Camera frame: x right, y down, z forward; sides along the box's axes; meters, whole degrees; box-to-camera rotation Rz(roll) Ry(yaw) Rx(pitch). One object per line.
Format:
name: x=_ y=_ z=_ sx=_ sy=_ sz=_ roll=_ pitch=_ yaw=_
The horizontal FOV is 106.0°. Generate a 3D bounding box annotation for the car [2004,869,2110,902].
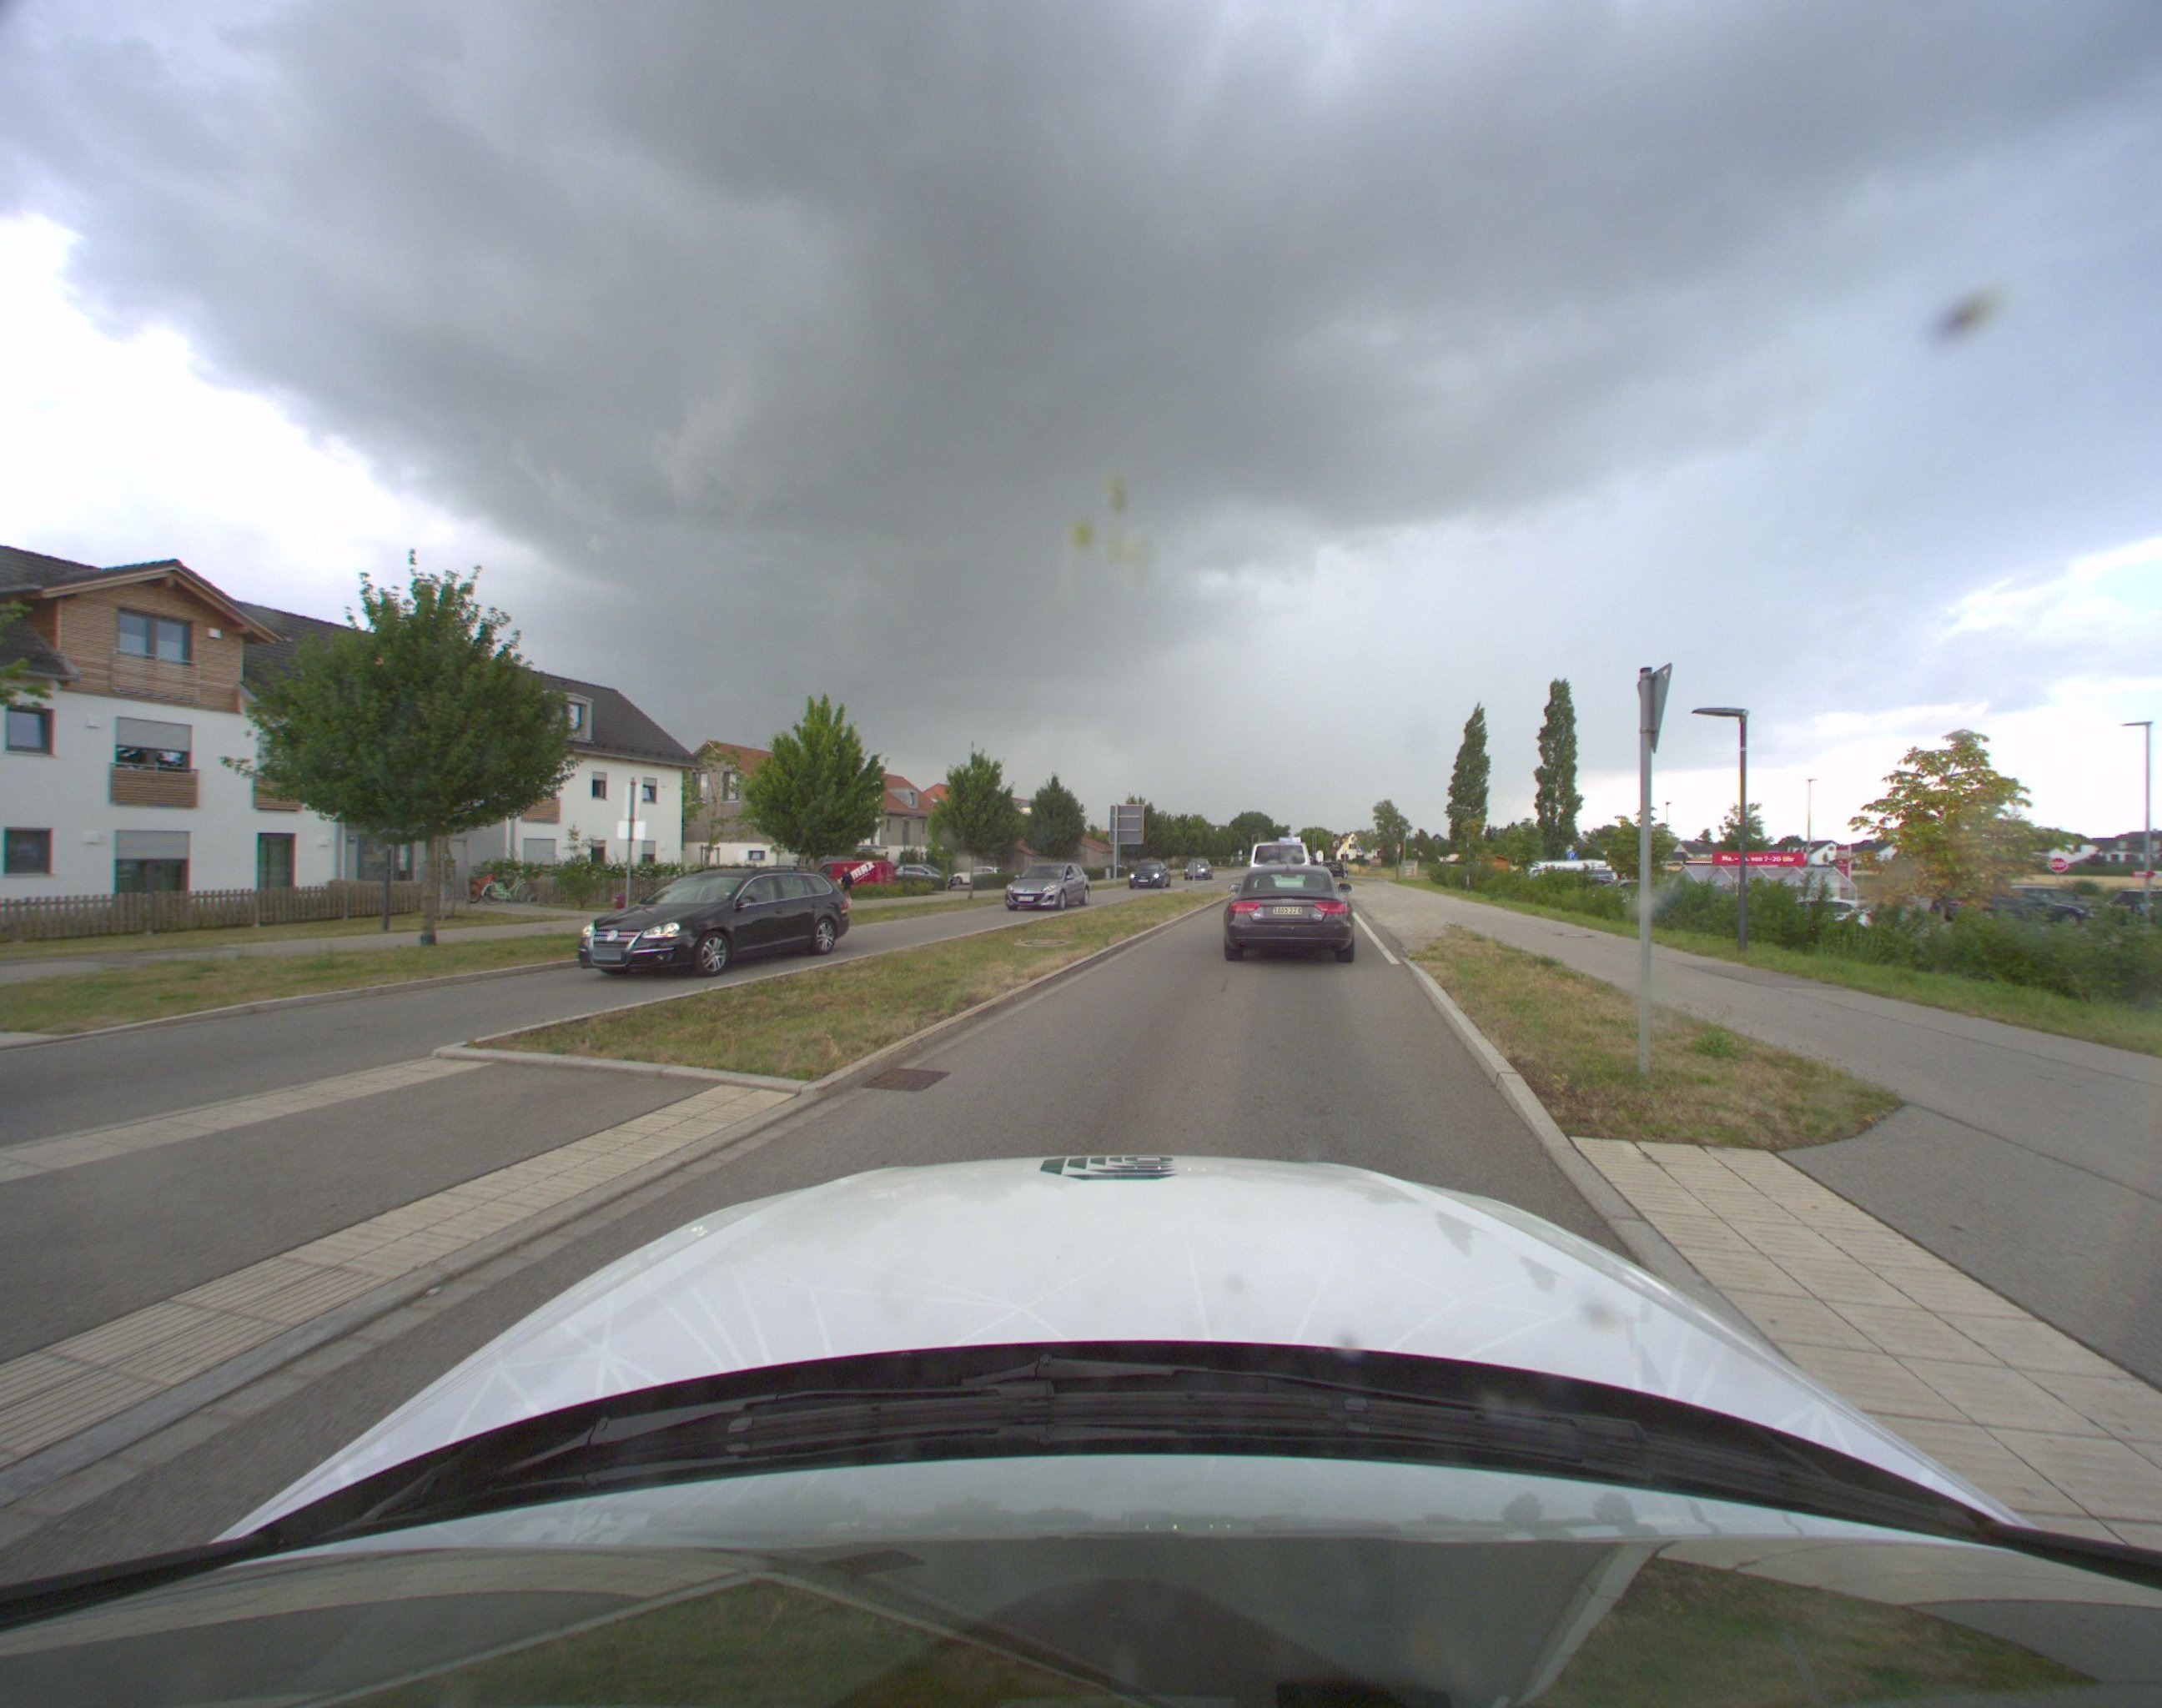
car: x=64.185 y=2.023 z=53.619 sx=3.955 sy=1.837 sz=2.009 roll=3 pitch=0 yaw=19

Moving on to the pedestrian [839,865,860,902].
pedestrian: x=-9.768 y=1.235 z=34.359 sx=0.577 sy=1.559 sz=0.662 roll=1 pitch=0 yaw=14

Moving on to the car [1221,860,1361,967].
car: x=3.255 y=0.820 z=12.813 sx=1.771 sy=1.391 sz=4.147 roll=-1 pitch=-1 yaw=13

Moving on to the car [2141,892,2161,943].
car: x=37.352 y=2.110 z=25.753 sx=4.371 sy=1.664 sz=2.008 roll=1 pitch=0 yaw=15

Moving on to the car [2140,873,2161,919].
car: x=51.001 y=1.907 z=36.147 sx=5.084 sy=2.013 sz=2.003 roll=0 pitch=1 yaw=4

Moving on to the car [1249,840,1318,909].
car: x=6.227 y=0.621 z=25.127 sx=1.854 sy=1.934 sz=4.014 roll=-2 pitch=-1 yaw=13

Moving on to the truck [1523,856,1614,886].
truck: x=32.219 y=1.101 z=53.927 sx=4.766 sy=1.872 sz=2.006 roll=1 pitch=-1 yaw=11

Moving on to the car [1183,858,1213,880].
car: x=9.015 y=1.120 z=62.454 sx=1.854 sy=1.574 sz=4.015 roll=1 pitch=0 yaw=14

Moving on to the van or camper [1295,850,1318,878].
van or camper: x=28.097 y=1.252 z=101.771 sx=2.606 sy=3.324 sz=6.847 roll=1 pitch=-1 yaw=15

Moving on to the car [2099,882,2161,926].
car: x=44.837 y=2.072 z=33.191 sx=3.958 sy=1.706 sz=1.722 roll=1 pitch=-1 yaw=15

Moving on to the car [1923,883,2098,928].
car: x=39.086 y=2.130 z=34.392 sx=4.523 sy=1.664 sz=2.008 roll=1 pitch=0 yaw=15

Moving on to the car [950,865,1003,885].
car: x=-8.071 y=1.614 z=62.883 sx=3.704 sy=1.482 sz=1.692 roll=1 pitch=0 yaw=12

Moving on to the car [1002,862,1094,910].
car: x=-0.962 y=0.971 z=26.139 sx=1.717 sy=1.410 sz=4.223 roll=-1 pitch=-1 yaw=16

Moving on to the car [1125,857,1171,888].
car: x=3.699 y=0.972 z=44.370 sx=1.854 sy=1.574 sz=4.015 roll=-1 pitch=-1 yaw=14

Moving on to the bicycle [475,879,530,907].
bicycle: x=-19.283 y=1.285 z=27.183 sx=0.364 sy=0.843 sz=1.554 roll=3 pitch=0 yaw=17

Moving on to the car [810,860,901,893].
car: x=-12.505 y=1.216 z=45.238 sx=4.494 sy=1.680 sz=2.009 roll=1 pitch=0 yaw=18

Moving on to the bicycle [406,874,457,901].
bicycle: x=-22.086 y=1.125 z=27.716 sx=0.364 sy=0.843 sz=1.343 roll=3 pitch=0 yaw=17

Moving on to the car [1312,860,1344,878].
car: x=19.776 y=1.182 z=65.134 sx=1.425 sy=1.372 sz=3.534 roll=1 pitch=-1 yaw=34

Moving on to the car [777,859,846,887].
car: x=-17.905 y=1.244 z=54.389 sx=1.977 sy=1.772 sz=4.487 roll=0 pitch=-1 yaw=20

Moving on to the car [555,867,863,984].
car: x=-5.265 y=0.922 z=12.319 sx=1.740 sy=1.416 sz=4.473 roll=-1 pitch=-1 yaw=15

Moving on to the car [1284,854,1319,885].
car: x=12.119 y=0.811 z=44.560 sx=1.763 sy=1.618 sz=4.017 roll=1 pitch=0 yaw=16

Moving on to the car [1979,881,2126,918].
car: x=46.358 y=2.147 z=38.981 sx=4.279 sy=1.578 sz=1.775 roll=1 pitch=0 yaw=17

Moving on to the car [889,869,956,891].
car: x=-10.424 y=1.706 z=53.597 sx=3.887 sy=1.315 sz=1.849 roll=1 pitch=0 yaw=13

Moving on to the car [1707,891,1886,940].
car: x=24.588 y=2.093 z=28.169 sx=4.201 sy=1.440 sz=2.008 roll=1 pitch=-1 yaw=15
